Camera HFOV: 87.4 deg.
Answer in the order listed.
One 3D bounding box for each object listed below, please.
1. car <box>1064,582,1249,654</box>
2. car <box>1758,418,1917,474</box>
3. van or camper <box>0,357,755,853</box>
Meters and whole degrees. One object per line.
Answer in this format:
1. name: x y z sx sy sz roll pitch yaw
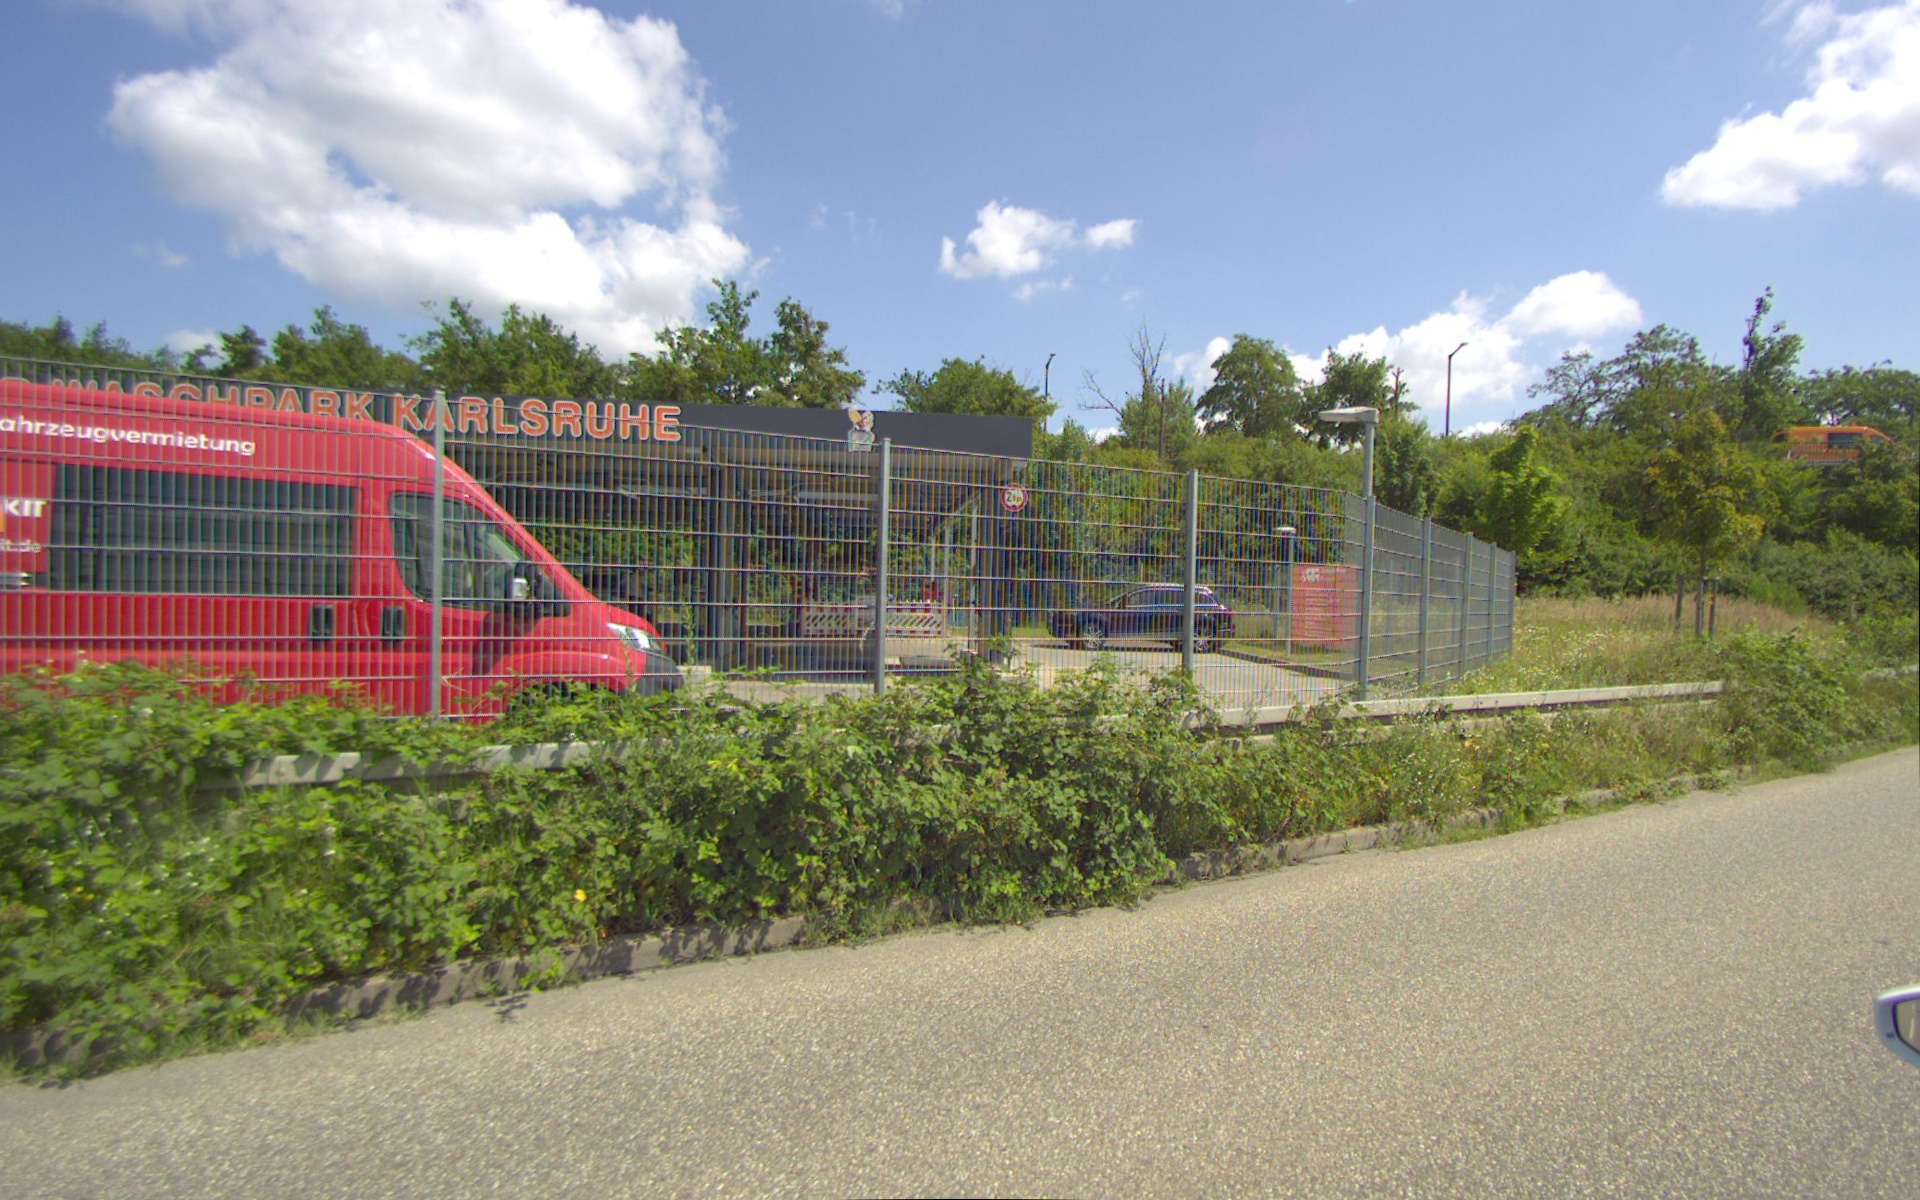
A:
1. car: 5.201 0.445 26.954 4.461 1.716 1.998 2 2 -5
2. car: 41.115 -7.202 47.225 5.230 2.040 2.001 0 -2 17
3. van or camper: -4.432 0.067 6.709 5.634 2.547 2.178 1 -2 -30
